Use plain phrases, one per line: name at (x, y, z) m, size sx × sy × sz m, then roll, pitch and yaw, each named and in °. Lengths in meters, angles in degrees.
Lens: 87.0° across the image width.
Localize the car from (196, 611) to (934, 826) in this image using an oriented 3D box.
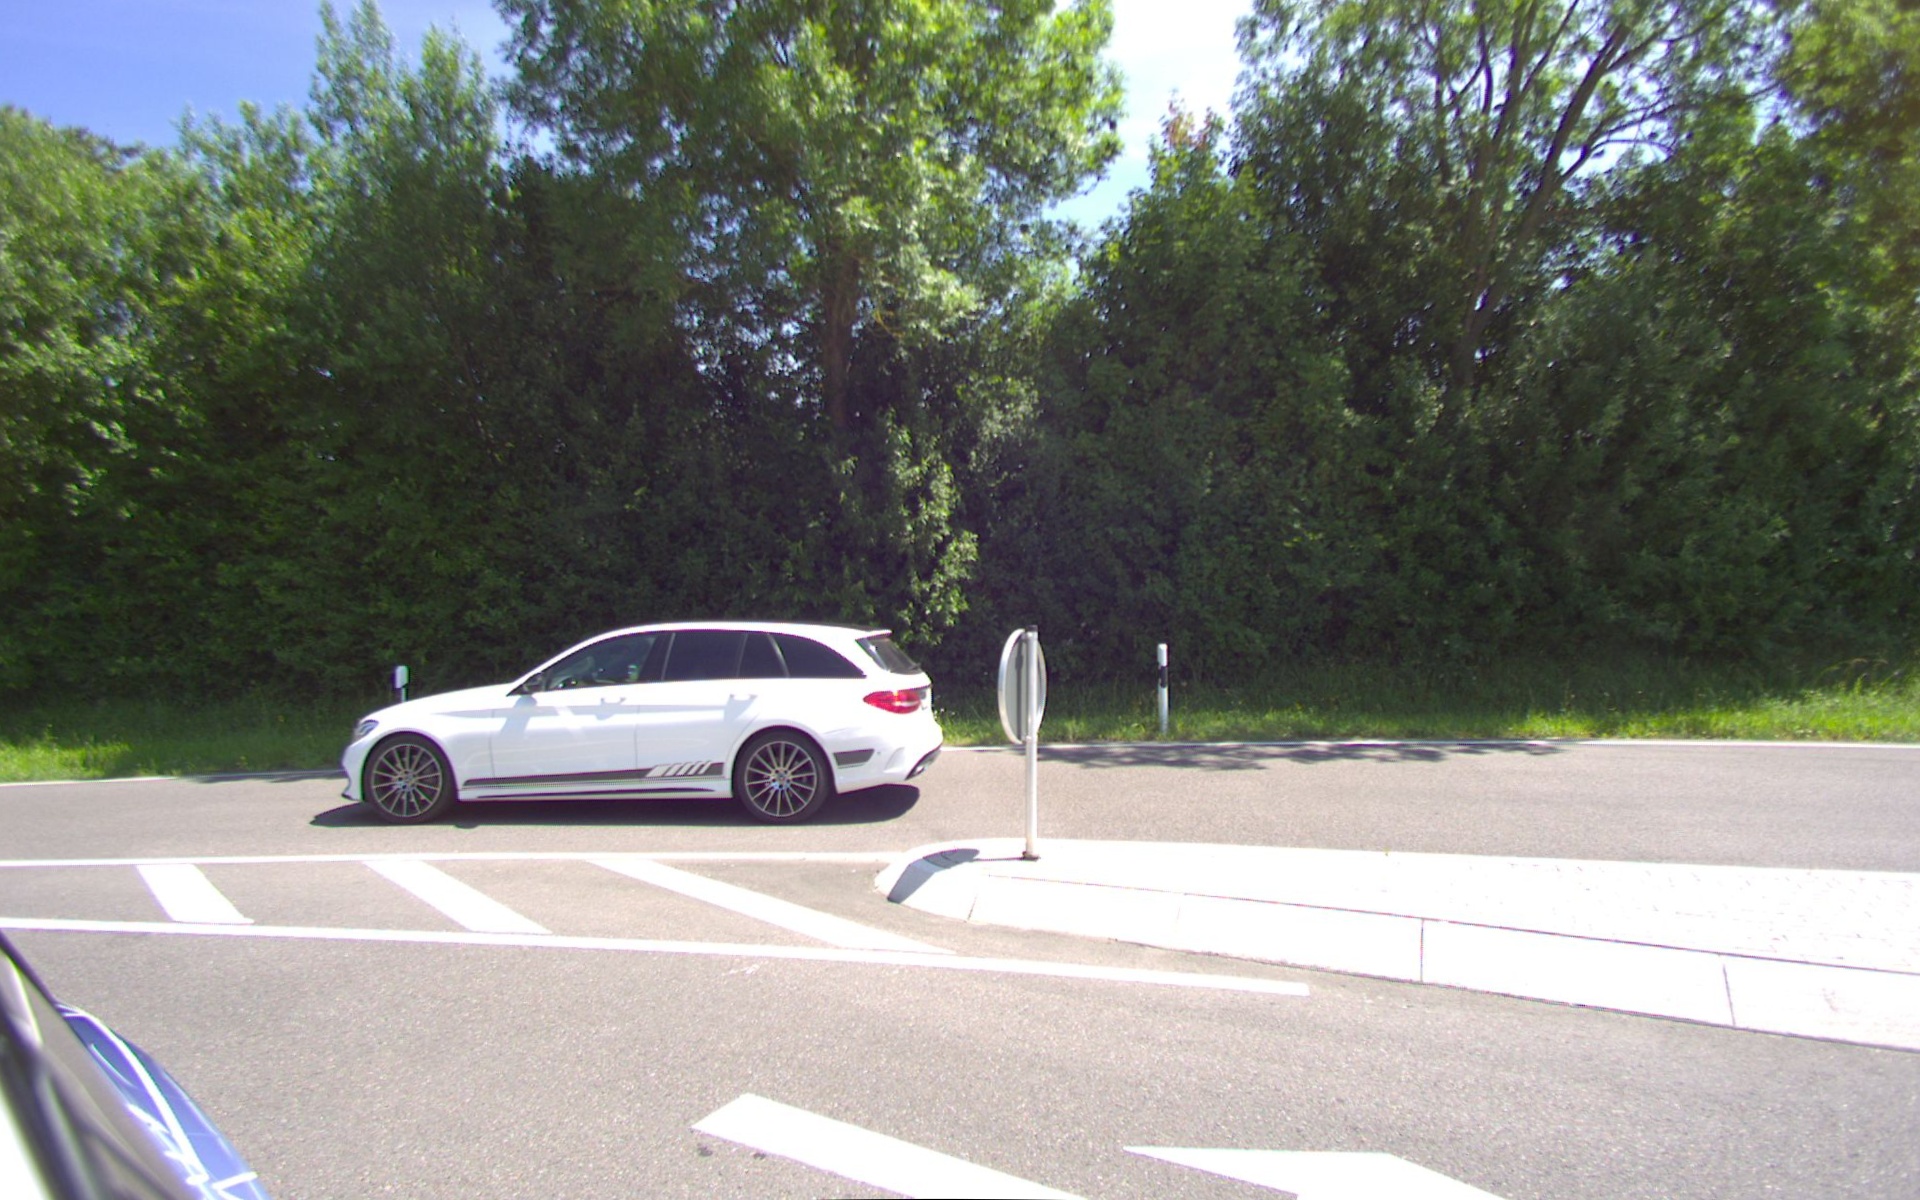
car at (-2.937, 0.882, 8.108) m, size 5.268 × 1.423 × 1.807 m, roll -2°, pitch -1°, yaw 6°
